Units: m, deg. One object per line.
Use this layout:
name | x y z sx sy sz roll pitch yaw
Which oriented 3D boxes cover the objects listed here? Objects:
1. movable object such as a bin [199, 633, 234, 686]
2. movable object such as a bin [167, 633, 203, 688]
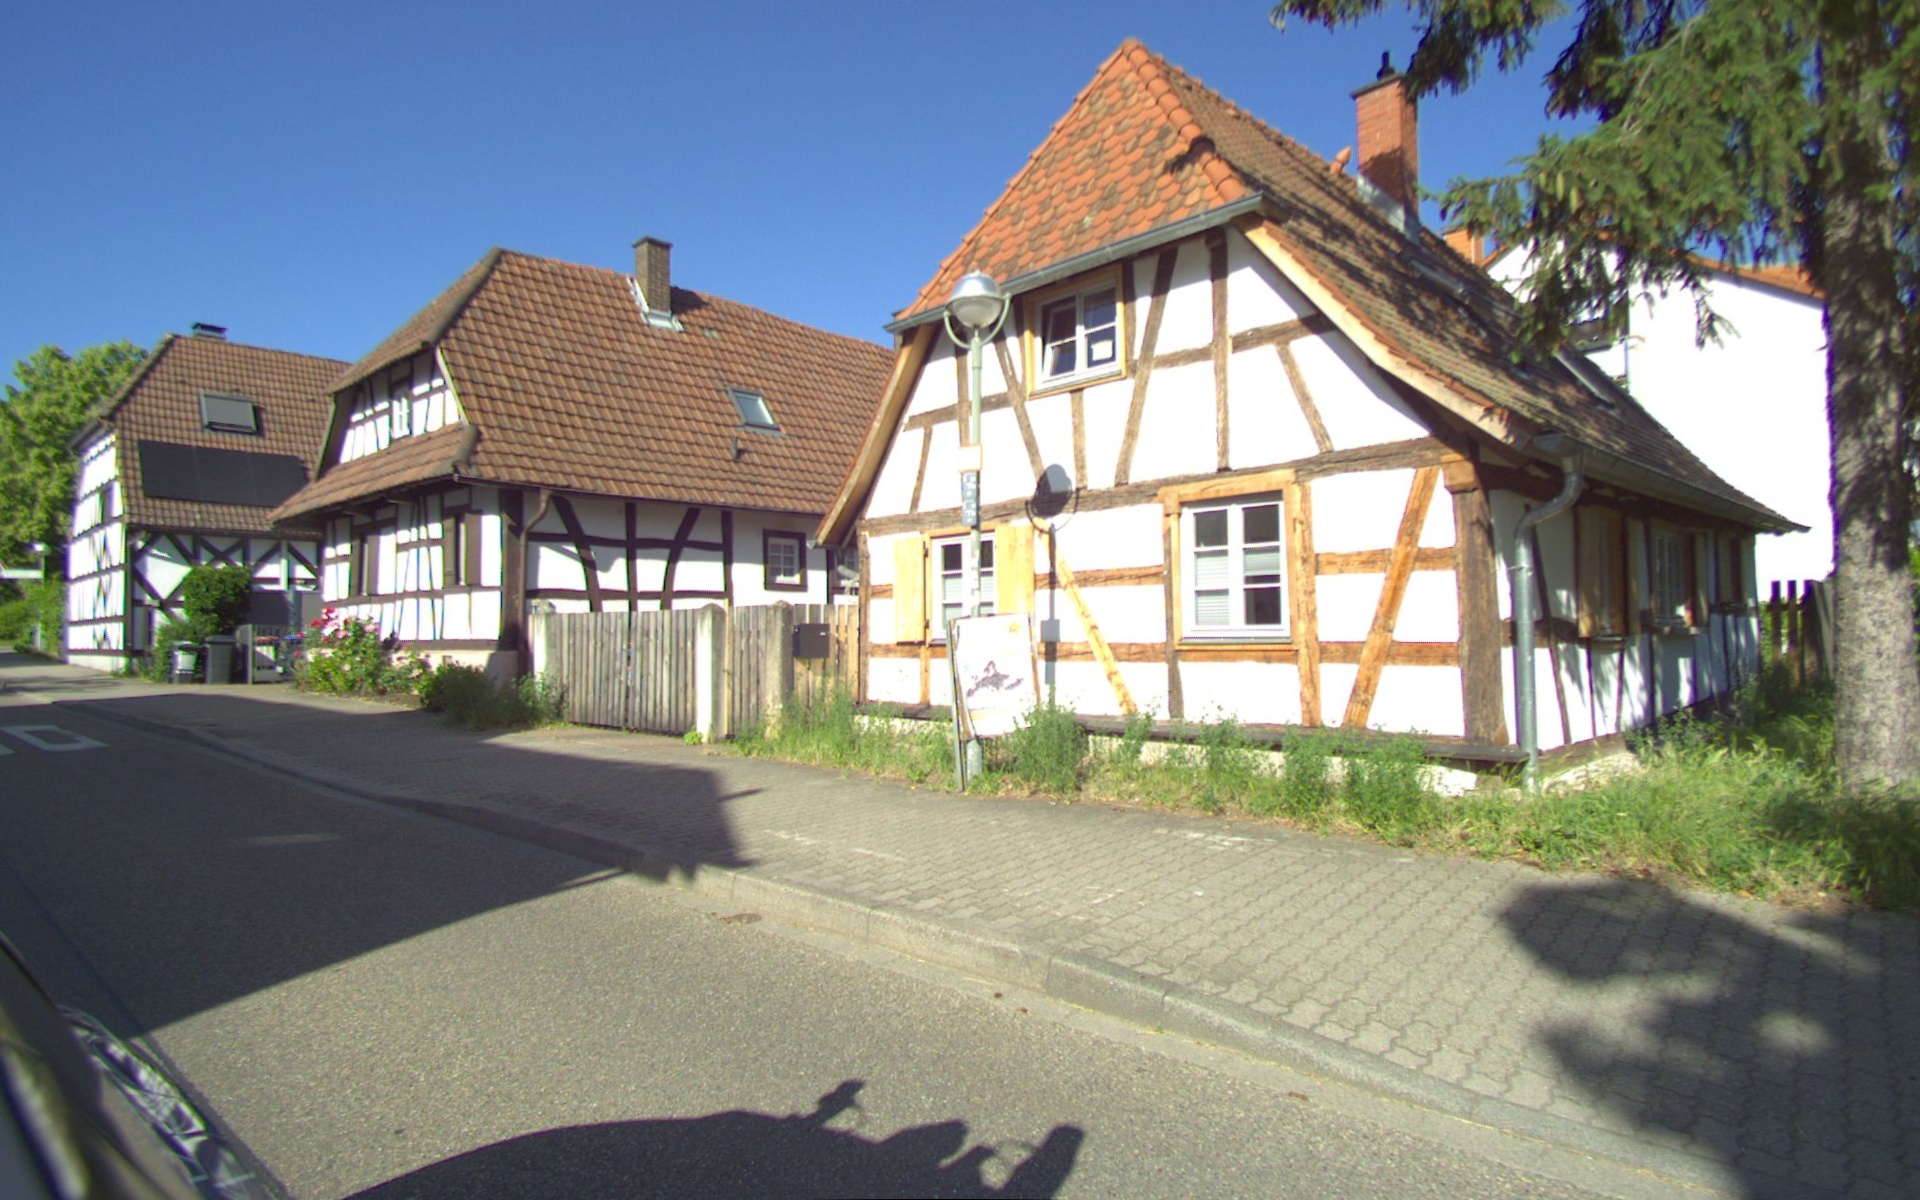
movable object such as a bin | -16.423 1.307 22.362 0.667 1.149 0.471 -1 -2 41
movable object such as a bin | -16.789 1.294 21.926 0.667 1.149 0.471 -1 -2 41
